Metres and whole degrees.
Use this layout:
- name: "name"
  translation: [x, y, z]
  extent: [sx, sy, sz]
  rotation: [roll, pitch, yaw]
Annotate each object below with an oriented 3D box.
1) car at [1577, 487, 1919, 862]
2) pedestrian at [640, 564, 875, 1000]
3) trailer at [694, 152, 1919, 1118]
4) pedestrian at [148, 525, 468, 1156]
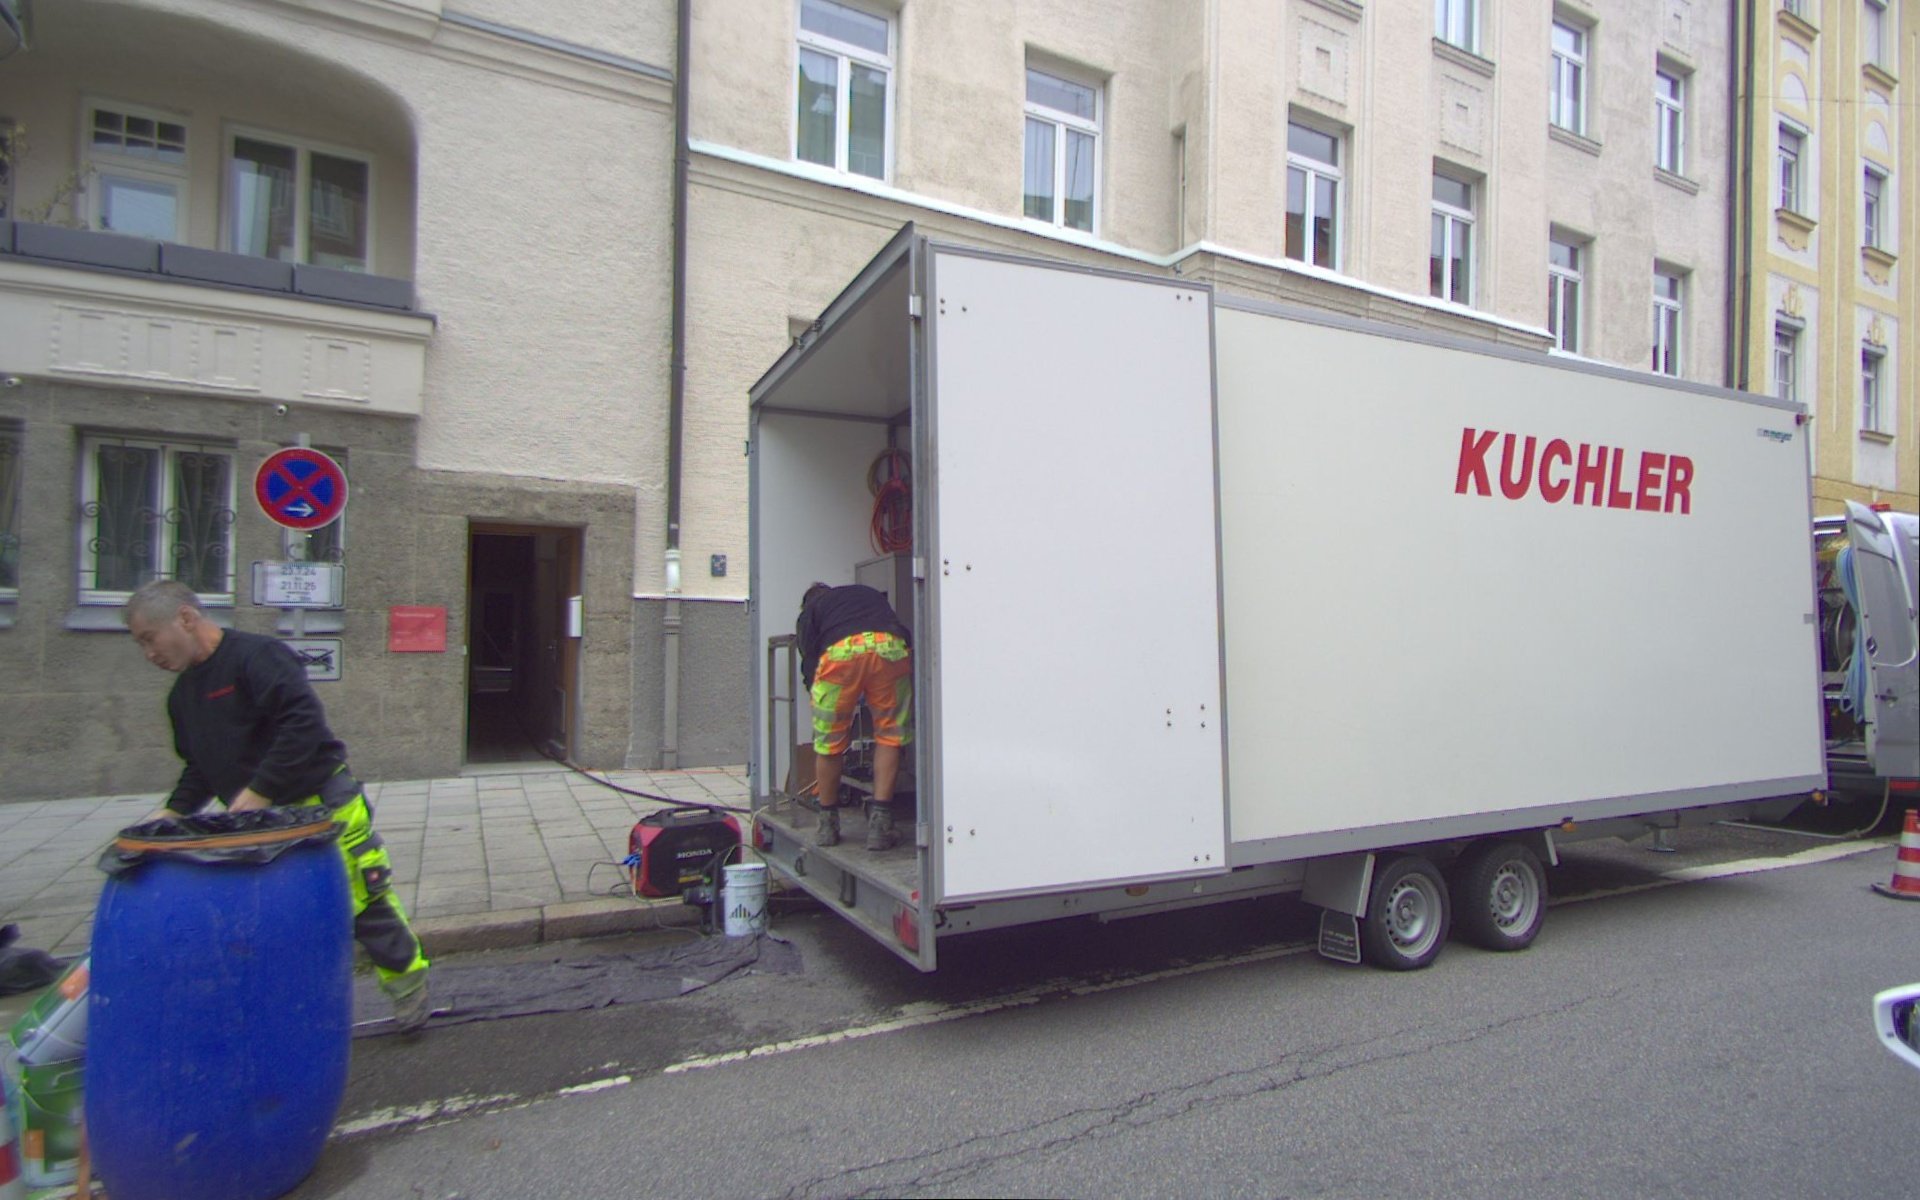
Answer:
- name: "car"
  translation: [8.966, 0.695, 9.565]
  extent: [6.791, 2.620, 2.049]
  rotation: [2, -6, -29]
- name: "pedestrian"
  translation: [-0.870, 0.704, 4.311]
  extent: [0.753, 1.652, 0.633]
  rotation: [-1, -3, 43]
- name: "trailer"
  translation: [2.462, 0.229, 6.038]
  extent: [7.498, 3.007, 2.796]
  rotation: [1, -4, -26]
- name: "pedestrian"
  translation: [-1.989, 0.624, 3.059]
  extent: [0.633, 1.601, 0.754]
  rotation: [3, -3, -45]
